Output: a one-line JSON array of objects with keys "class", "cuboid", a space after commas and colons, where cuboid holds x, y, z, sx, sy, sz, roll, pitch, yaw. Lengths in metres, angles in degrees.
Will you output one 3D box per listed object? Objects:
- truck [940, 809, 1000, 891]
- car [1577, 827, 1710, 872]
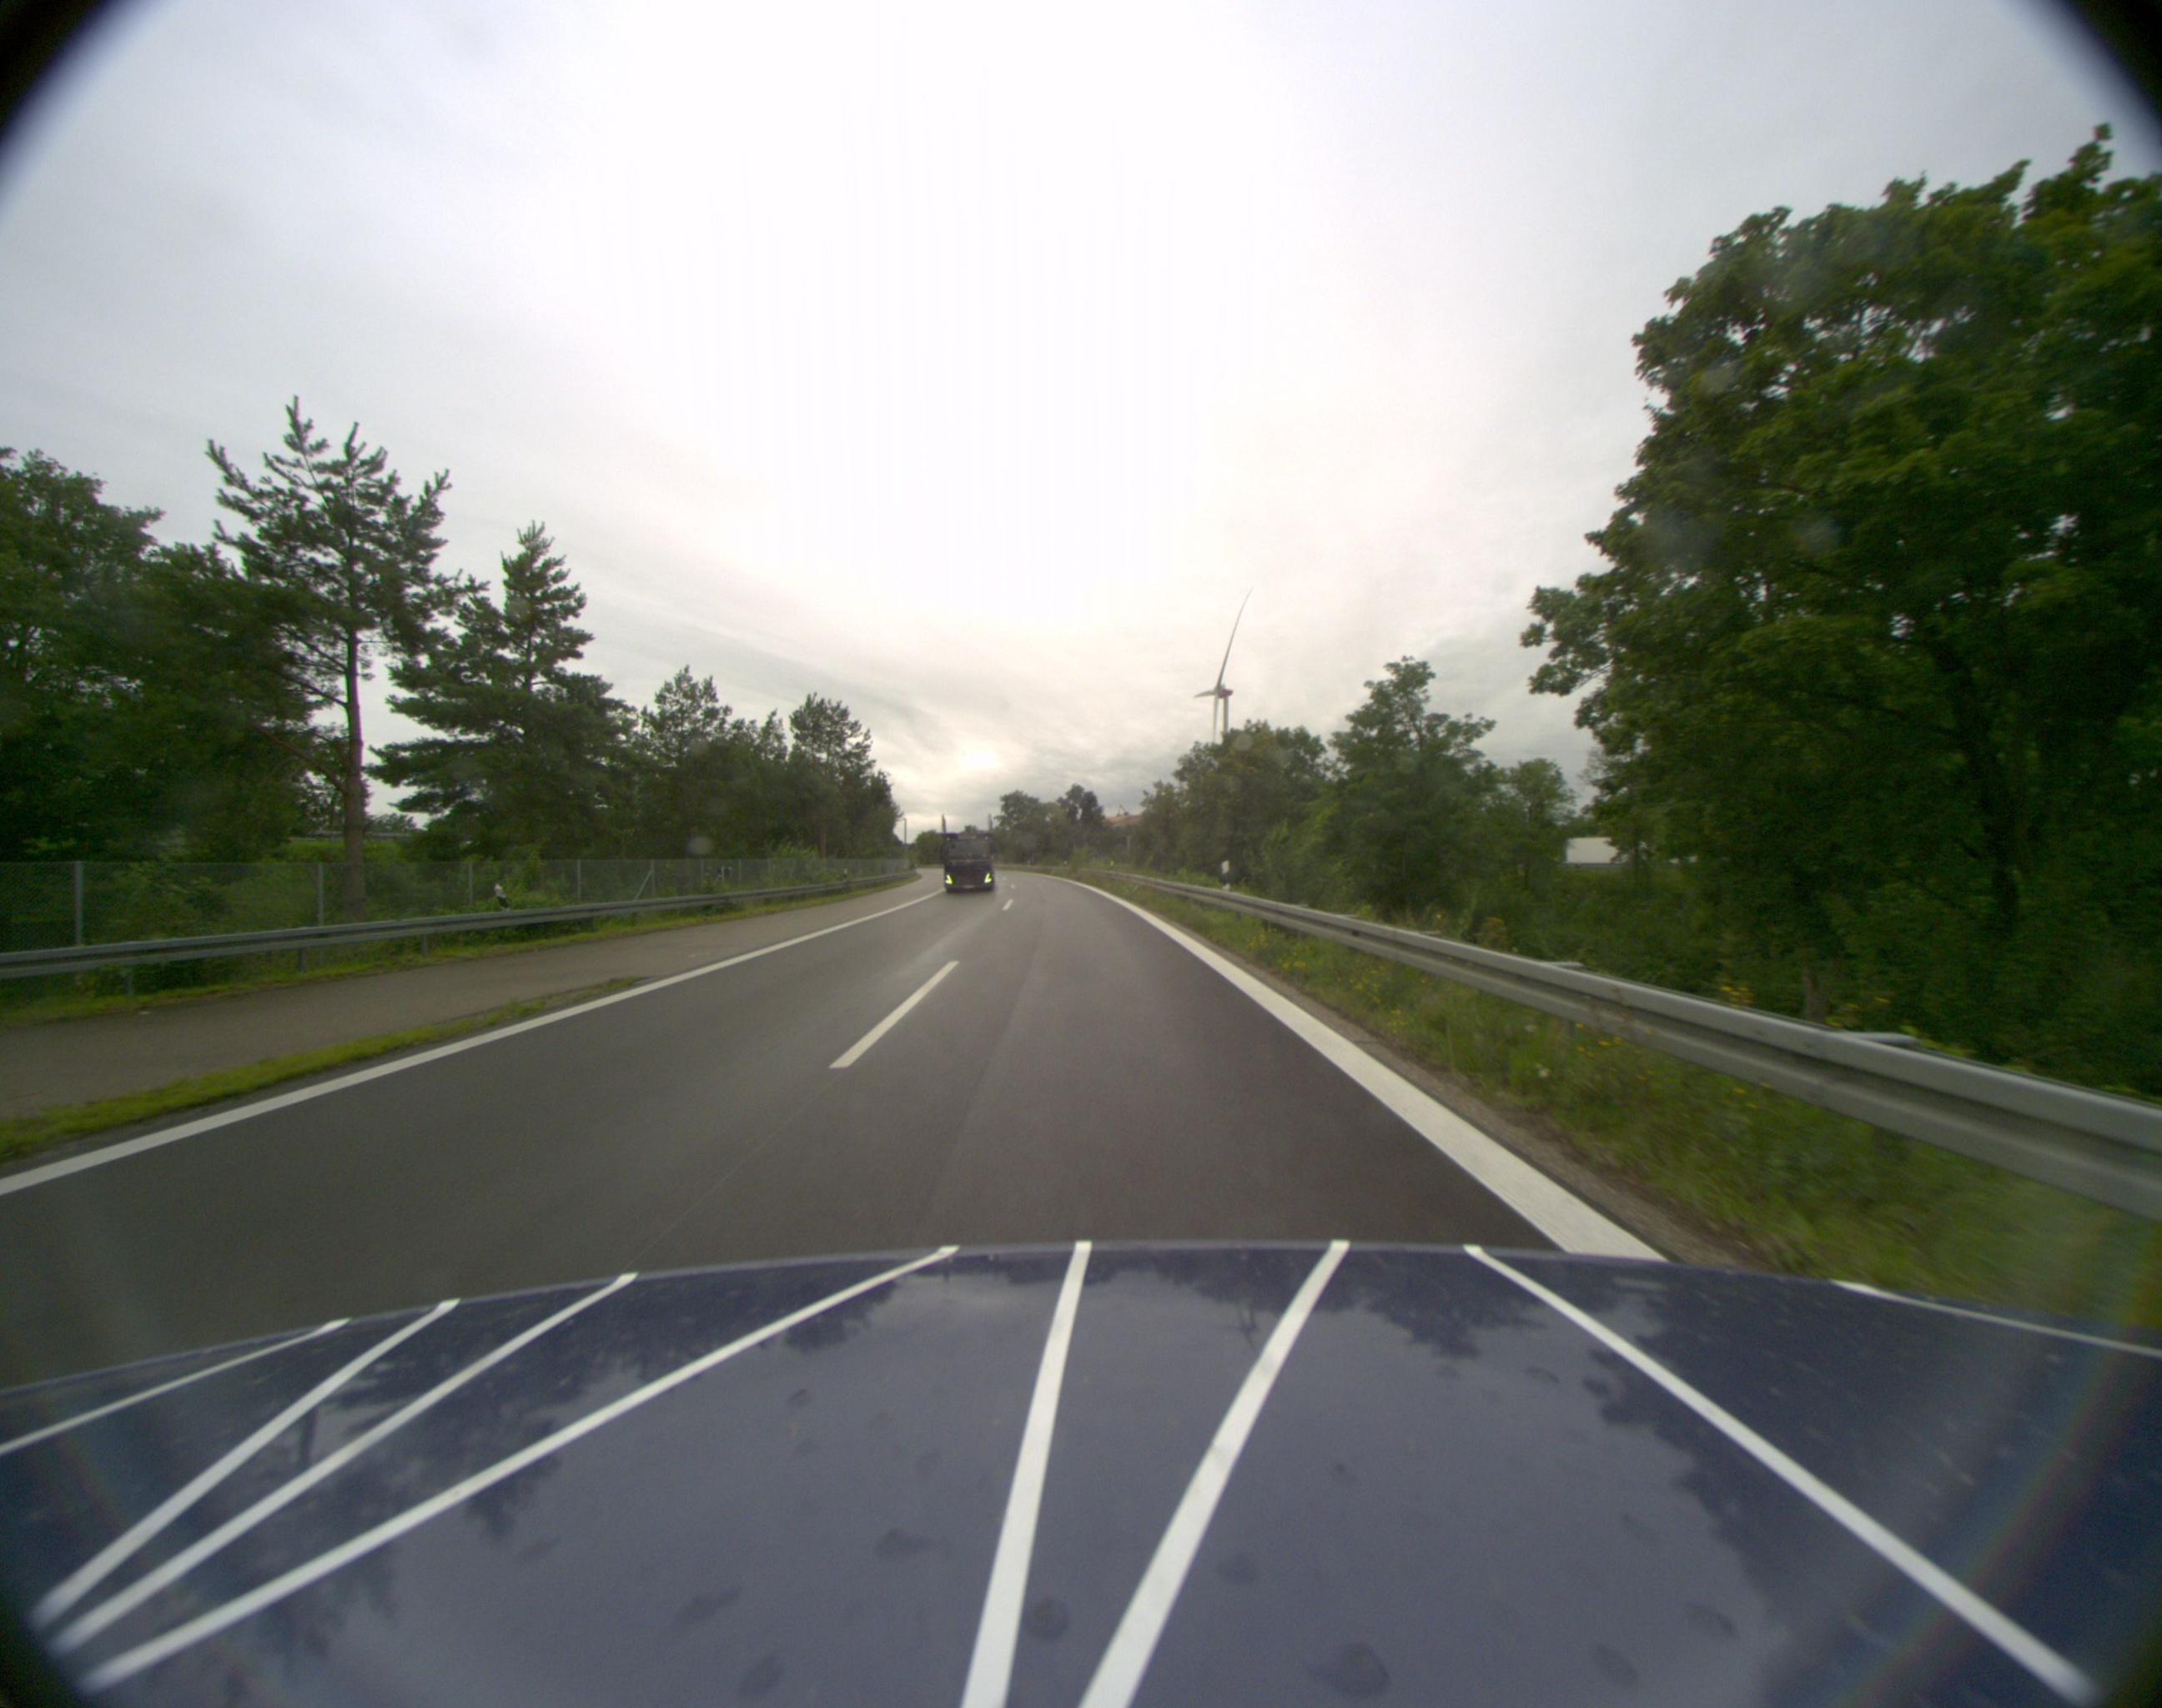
[{"class": "truck", "cuboid": [-5.961, -0.205, 42.172, 2.747, 3.944, 9.123, -3, 0, -6]}, {"class": "car", "cuboid": [63.212, -0.457, 85.791, 3.125, 4.704, 11.700, -1, 1, -37]}]
